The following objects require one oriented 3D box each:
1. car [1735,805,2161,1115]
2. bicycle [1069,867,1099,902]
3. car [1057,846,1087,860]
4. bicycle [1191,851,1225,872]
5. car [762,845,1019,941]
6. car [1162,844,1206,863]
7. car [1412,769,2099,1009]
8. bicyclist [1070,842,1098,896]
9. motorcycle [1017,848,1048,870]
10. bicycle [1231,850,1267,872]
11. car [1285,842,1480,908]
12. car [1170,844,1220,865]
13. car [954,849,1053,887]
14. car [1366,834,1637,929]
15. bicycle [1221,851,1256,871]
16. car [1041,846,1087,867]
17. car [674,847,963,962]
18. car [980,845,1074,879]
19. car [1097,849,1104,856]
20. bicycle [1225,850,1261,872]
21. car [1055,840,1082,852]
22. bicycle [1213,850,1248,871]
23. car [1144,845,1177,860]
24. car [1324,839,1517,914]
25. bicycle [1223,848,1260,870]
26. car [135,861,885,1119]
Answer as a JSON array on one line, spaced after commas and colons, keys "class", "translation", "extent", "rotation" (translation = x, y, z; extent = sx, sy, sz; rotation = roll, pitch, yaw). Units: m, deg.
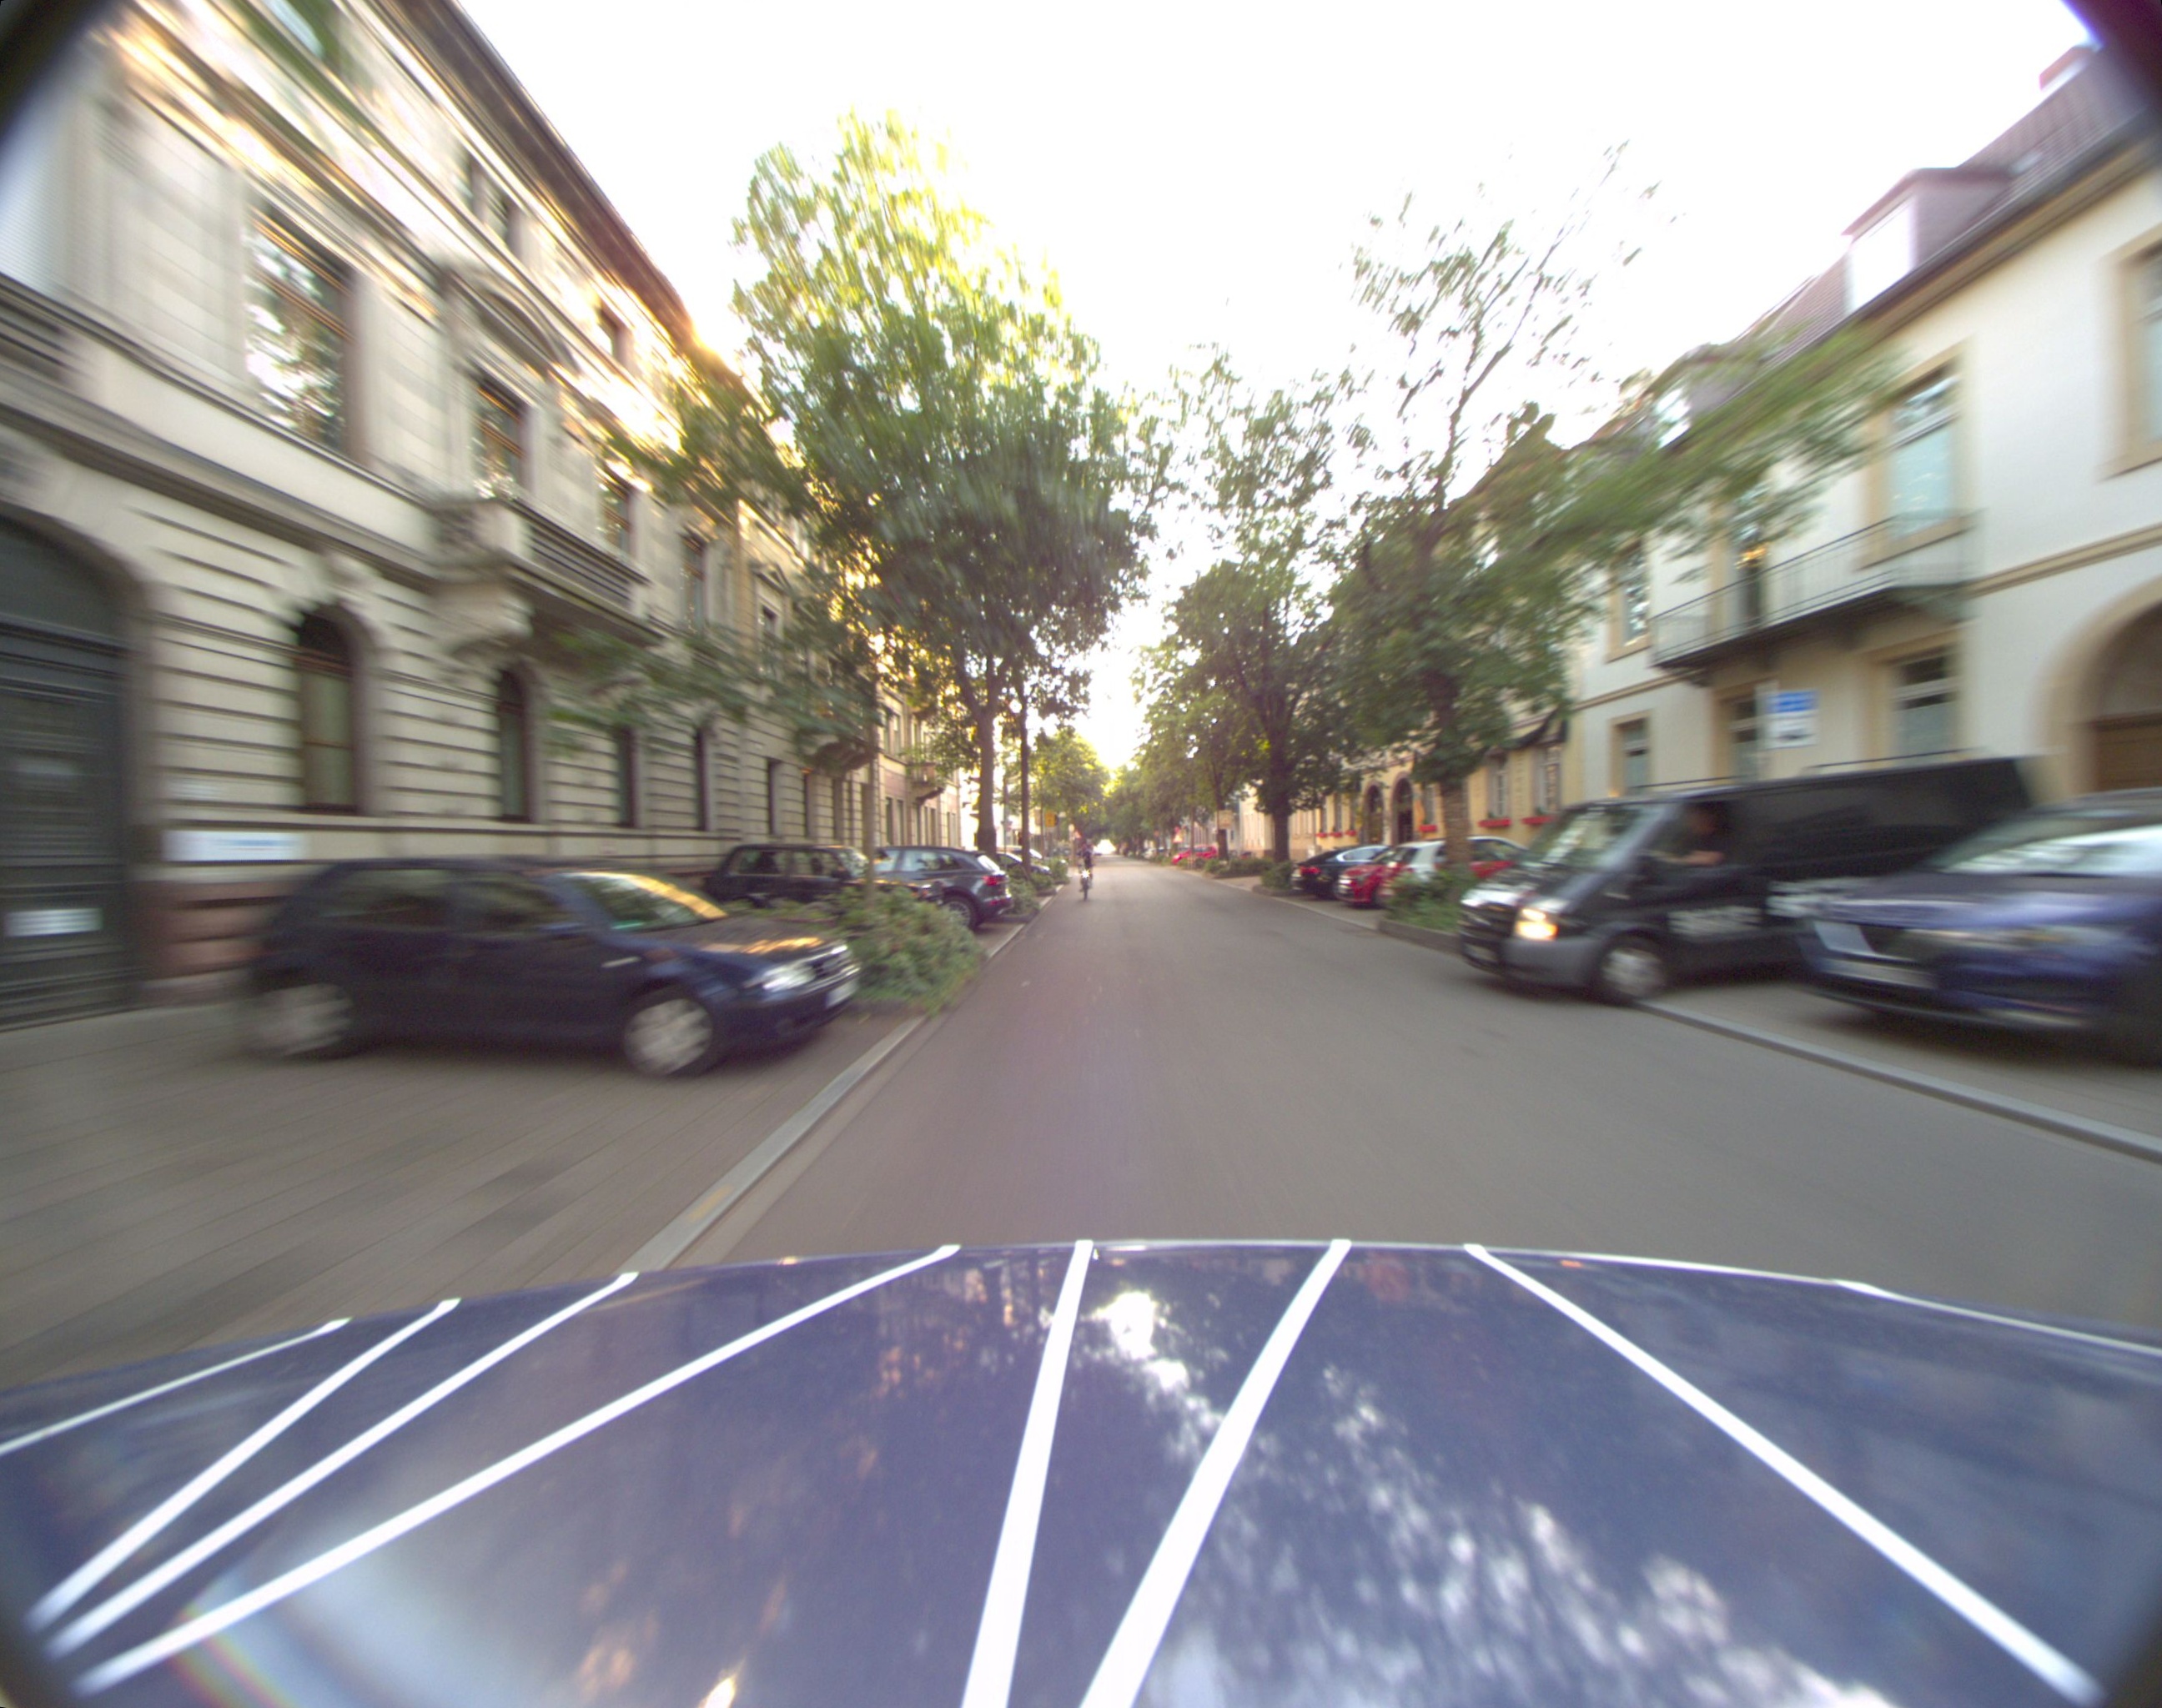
[{"class": "car", "translation": [7.423, 0.487, 5.059], "extent": [4.365, 1.564, 1.930], "rotation": [-4, 1, 2]}, {"class": "bicycle", "translation": [0.118, 0.920, 23.733], "extent": [0.778, 0.967, 2.025], "rotation": [-2, 1, 4]}, {"class": "car", "translation": [-1.107, -0.123, 94.346], "extent": [3.551, 1.411, 1.590], "rotation": [-4, 0, 2]}, {"class": "bicycle", "translation": [7.324, 0.427, 43.884], "extent": [1.869, 1.092, 0.480], "rotation": [-3, 1, -5]}, {"class": "car", "translation": [-3.530, 0.701, 14.746], "extent": [4.450, 1.708, 1.968], "rotation": [0, 2, 2]}, {"class": "car", "translation": [9.160, -0.021, 67.621], "extent": [3.552, 1.411, 1.590], "rotation": [-4, 0, -1]}, {"class": "car", "translation": [6.362, 0.307, 7.735], "extent": [5.002, 1.979, 2.190], "rotation": [-1, 0, 1]}, {"class": "bicyclist", "translation": [0.105, 0.450, 23.719], "extent": [0.753, 1.612, 1.147], "rotation": [-2, 1, 4]}, {"class": "motorcycle", "translation": [-3.690, 0.349, 57.864], "extent": [2.248, 1.537, 0.772], "rotation": [-3, 2, -14]}, {"class": "bicycle", "translation": [8.827, 0.372, 39.969], "extent": [1.711, 1.093, 0.480], "rotation": [-3, 1, -4]}, {"class": "car", "translation": [7.851, 0.517, 20.047], "extent": [4.436, 1.399, 1.717], "rotation": [-3, 2, -2]}, {"class": "car", "translation": [8.775, 0.020, 58.804], "extent": [3.497, 1.397, 1.673], "rotation": [-4, 0, -1]}, {"class": "car", "translation": [-3.150, 0.558, 31.487], "extent": [3.875, 1.419, 1.781], "rotation": [2, 0, 0]}, {"class": "car", "translation": [8.243, 0.498, 15.192], "extent": [4.365, 1.530, 1.771], "rotation": [-4, 2, 2]}, {"class": "bicycle", "translation": [9.186, 0.397, 44.289], "extent": [1.869, 1.093, 0.480], "rotation": [-3, 1, -5]}, {"class": "car", "translation": [-1.620, 0.227, 73.341], "extent": [4.166, 1.666, 1.590], "rotation": [-4, 1, 2]}, {"class": "car", "translation": [-4.084, 0.762, 12.285], "extent": [4.017, 1.677, 1.765], "rotation": [-1, 0, 2]}, {"class": "car", "translation": [-2.739, 0.383, 38.829], "extent": [4.420, 1.552, 1.867], "rotation": [2, 0, 9]}, {"class": "car", "translation": [4.555, -0.310, 177.797], "extent": [1.672, 1.411, 3.555], "rotation": [-4, 0, 2]}, {"class": "bicycle", "translation": [8.977, 0.376, 42.114], "extent": [1.869, 1.093, 0.509], "rotation": [-3, 1, -4]}, {"class": "car", "translation": [-1.700, -1.080, 102.867], "extent": [3.551, 1.411, 1.590], "rotation": [-4, 0, 2]}, {"class": "bicycle", "translation": [8.503, 0.374, 43.268], "extent": [1.869, 1.093, 0.480], "rotation": [-3, 1, -5]}, {"class": "car", "translation": [8.996, -0.196, 85.966], "extent": [3.551, 1.411, 1.590], "rotation": [-4, 0, 2]}, {"class": "car", "translation": [7.811, 0.490, 17.712], "extent": [3.693, 1.441, 1.659], "rotation": [-4, 1, 2]}, {"class": "bicycle", "translation": [8.751, 0.287, 41.406], "extent": [1.869, 1.093, 0.480], "rotation": [-3, 1, -5]}, {"class": "car", "translation": [-3.846, 0.856, 5.690], "extent": [4.234, 1.472, 1.854], "rotation": [1, 1, 2]}]
